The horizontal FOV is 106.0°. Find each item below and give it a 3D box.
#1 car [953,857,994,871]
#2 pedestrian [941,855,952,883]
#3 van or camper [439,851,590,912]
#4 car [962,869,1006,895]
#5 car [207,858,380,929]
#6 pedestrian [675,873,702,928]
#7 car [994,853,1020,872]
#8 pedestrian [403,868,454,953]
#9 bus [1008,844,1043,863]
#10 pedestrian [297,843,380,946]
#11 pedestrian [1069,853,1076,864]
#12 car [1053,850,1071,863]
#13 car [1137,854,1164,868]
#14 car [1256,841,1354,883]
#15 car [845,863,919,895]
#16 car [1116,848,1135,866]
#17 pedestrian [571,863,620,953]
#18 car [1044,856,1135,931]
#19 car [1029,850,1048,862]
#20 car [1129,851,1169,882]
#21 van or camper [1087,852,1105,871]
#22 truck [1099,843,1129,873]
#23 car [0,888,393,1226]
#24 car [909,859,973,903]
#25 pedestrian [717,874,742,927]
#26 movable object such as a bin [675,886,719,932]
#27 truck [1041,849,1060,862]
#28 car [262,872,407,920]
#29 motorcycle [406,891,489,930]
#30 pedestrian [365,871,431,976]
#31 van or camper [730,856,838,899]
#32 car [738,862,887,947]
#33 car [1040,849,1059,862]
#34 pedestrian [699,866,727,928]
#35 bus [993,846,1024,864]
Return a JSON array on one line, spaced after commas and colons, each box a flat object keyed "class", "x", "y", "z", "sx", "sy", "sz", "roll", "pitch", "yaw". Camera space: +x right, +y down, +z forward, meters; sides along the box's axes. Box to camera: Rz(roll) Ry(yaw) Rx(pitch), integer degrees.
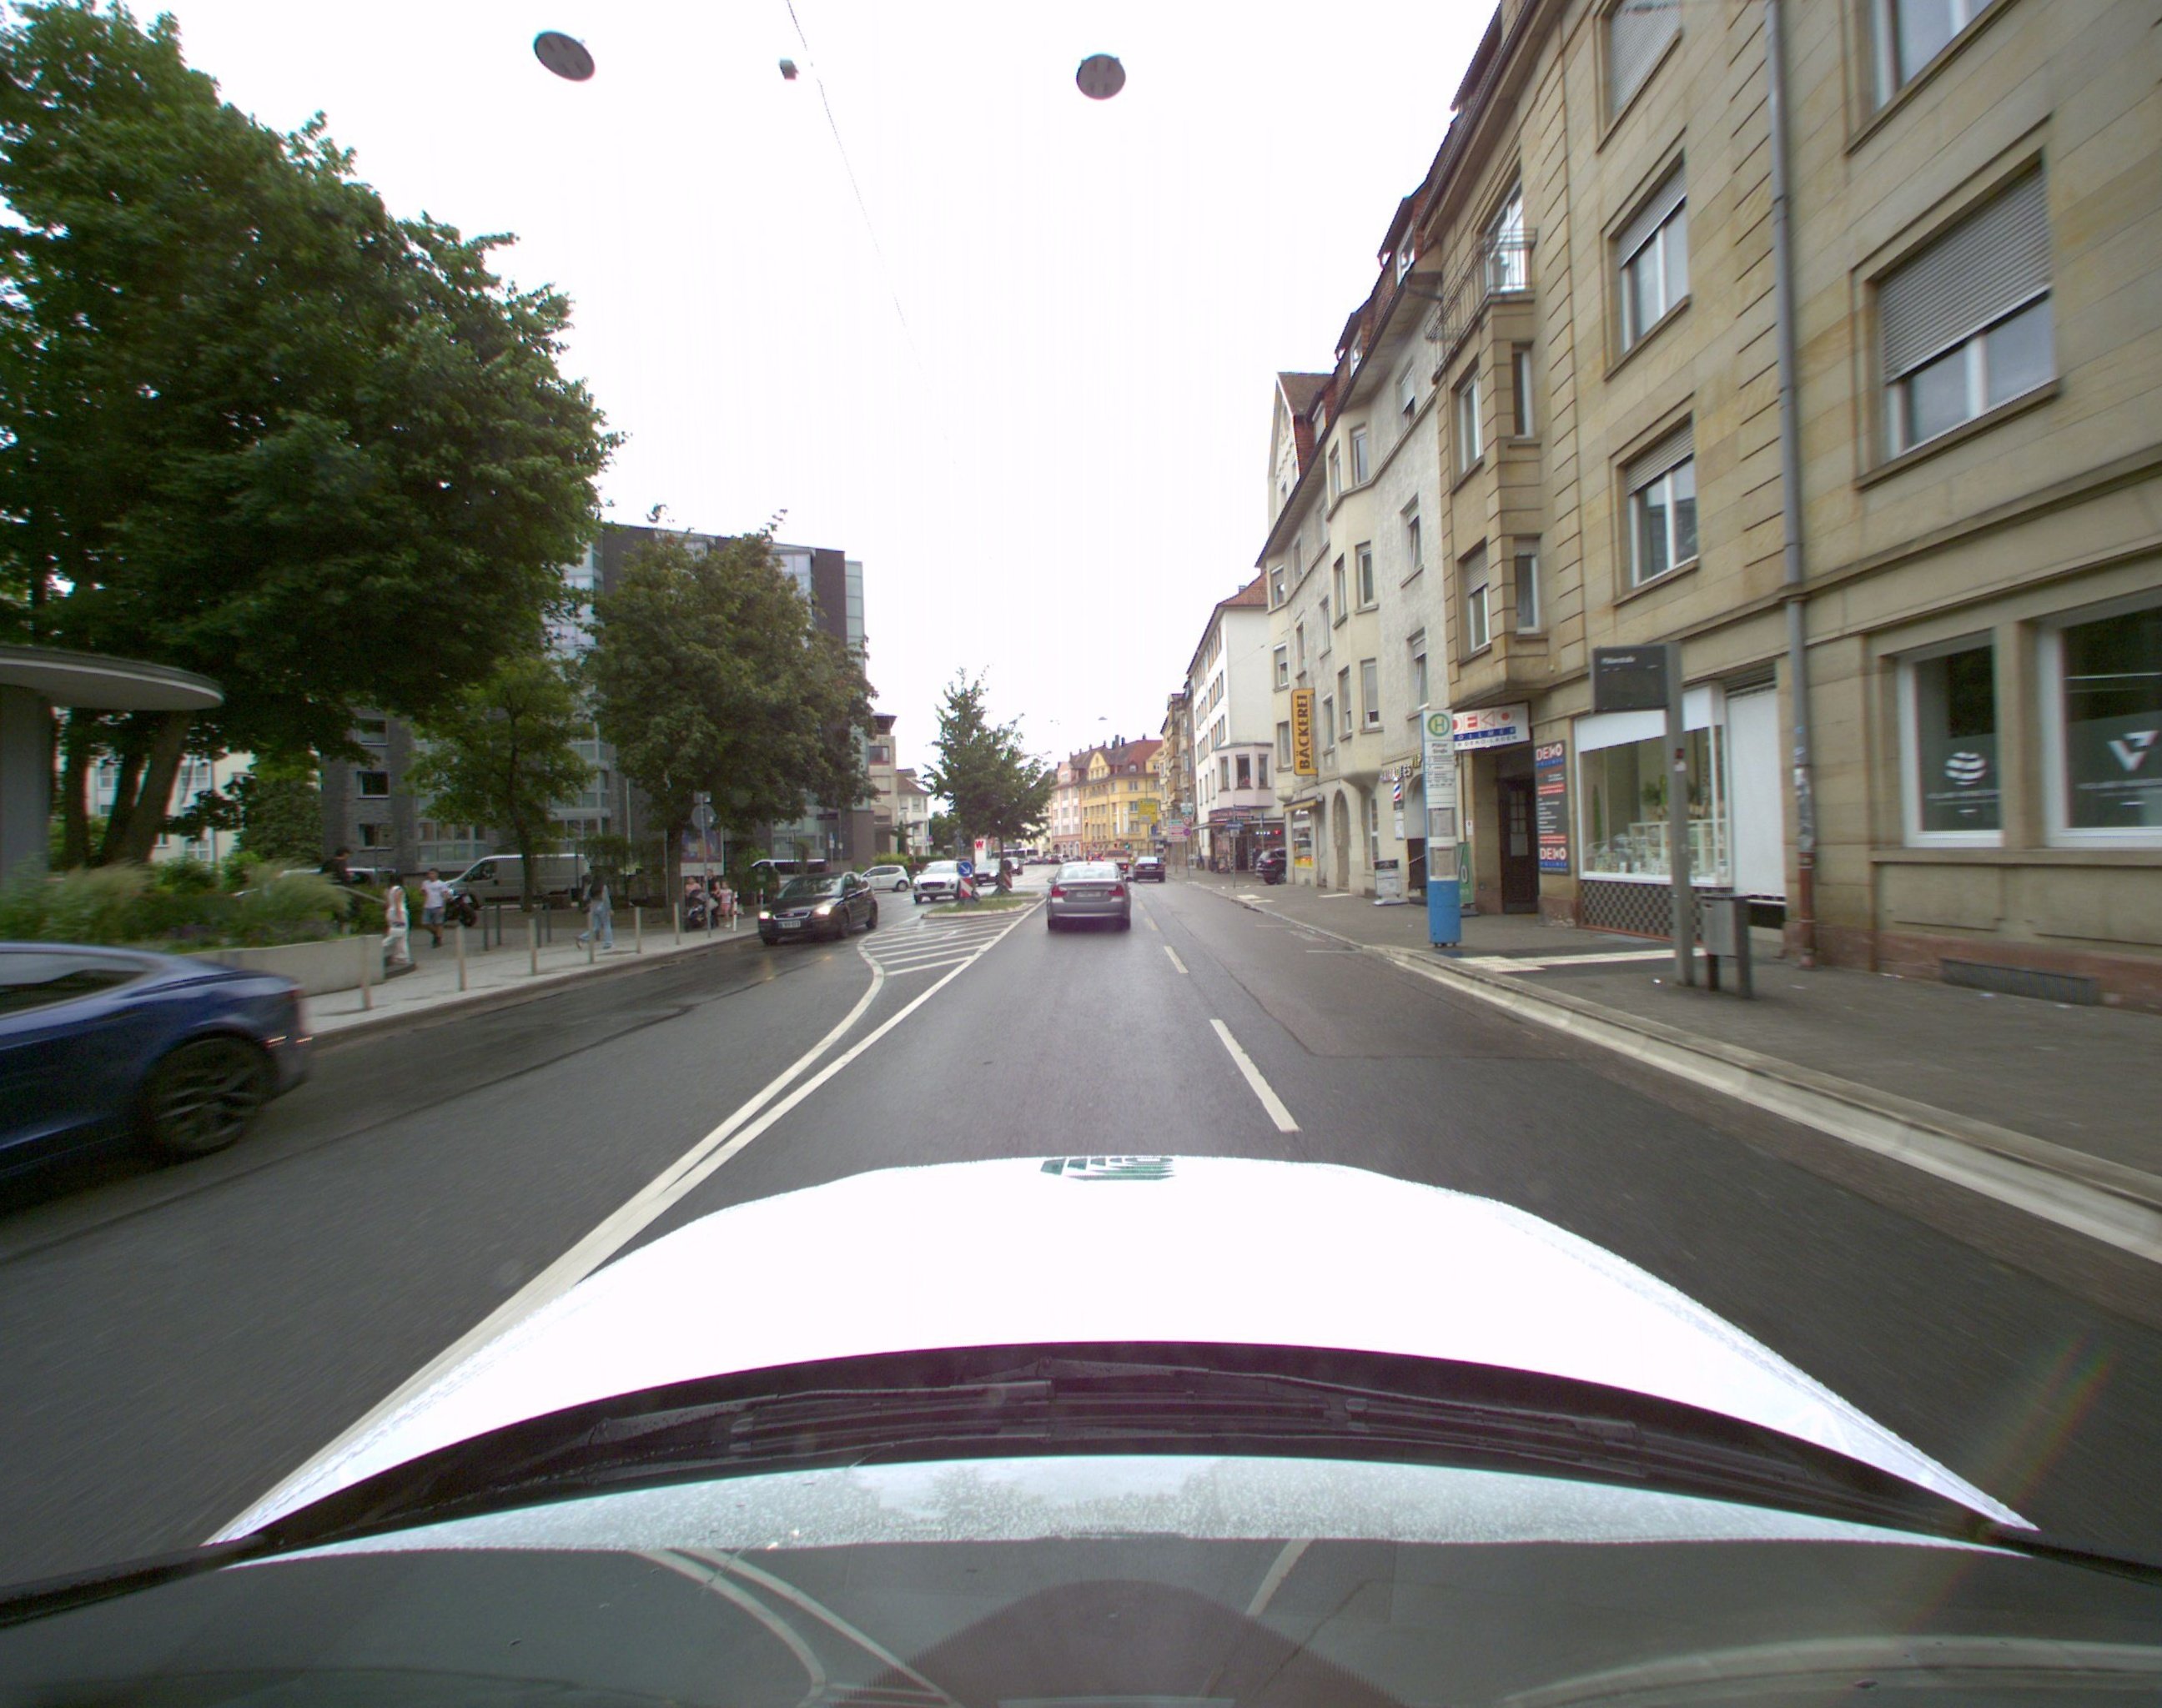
[{"class": "car", "x": -12.082, "y": 1.123, "z": 91.698, "sx": 4.436, "sy": 1.526, "sz": 1.883, "roll": 0, "pitch": 0, "yaw": -4}, {"class": "pedestrian", "x": -8.618, "y": 0.945, "z": 52.093, "sx": 0.573, "sy": 1.762, "sz": 0.580, "roll": -2, "pitch": 0, "yaw": -5}, {"class": "van or camper", "x": -22.277, "y": 1.016, "z": 32.293, "sx": 4.629, "sy": 2.266, "sz": 2.192, "roll": 0, "pitch": 0, "yaw": -28}, {"class": "car", "x": -5.835, "y": 1.651, "z": 49.683, "sx": 2.006, "sy": 1.425, "sz": 4.501, "roll": -1, "pitch": 0, "yaw": 1}, {"class": "car", "x": -28.222, "y": 1.349, "z": 29.385, "sx": 4.009, "sy": 2.255, "sz": 1.982, "roll": -2, "pitch": 0, "yaw": -27}, {"class": "pedestrian", "x": -10.767, "y": 1.277, "z": 22.349, "sx": 0.458, "sy": 1.473, "sz": 0.530, "roll": -1, "pitch": 0, "yaw": -2}, {"class": "car", "x": -6.832, "y": 0.790, "z": 74.734, "sx": 1.949, "sy": 1.659, "sz": 4.041, "roll": -1, "pitch": 0, "yaw": -11}, {"class": "pedestrian", "x": -14.808, "y": 1.259, "z": 18.501, "sx": 0.725, "sy": 1.826, "sz": 0.715, "roll": -1, "pitch": 0, "yaw": -27}, {"class": "bus", "x": -9.952, "y": -0.022, "z": 144.552, "sx": 2.923, "sy": 3.105, "sz": 9.066, "roll": -2, "pitch": 0, "yaw": -25}, {"class": "pedestrian", "x": -13.755, "y": 0.729, "z": 15.107, "sx": 0.860, "sy": 1.844, "sz": 0.691, "roll": -2, "pitch": 0, "yaw": -13}, {"class": "pedestrian", "x": -1.120, "y": 0.575, "z": 108.116, "sx": 0.763, "sy": 1.529, "sz": 0.505, "roll": 0, "pitch": -1, "yaw": -19}, {"class": "car", "x": -3.378, "y": 0.455, "z": 144.929, "sx": 1.770, "sy": 2.180, "sz": 3.968, "roll": 1, "pitch": -1, "yaw": -24}, {"class": "car", "x": 10.770, "y": 1.071, "z": 126.421, "sx": 3.962, "sy": 2.014, "sz": 2.005, "roll": 1, "pitch": -1, "yaw": 10}, {"class": "car", "x": 10.190, "y": 0.366, "z": 37.245, "sx": 4.114, "sy": 1.772, "sz": 1.878, "roll": -1, "pitch": 0, "yaw": 9}, {"class": "car", "x": -10.931, "y": 1.340, "z": 44.744, "sx": 3.601, "sy": 1.569, "sz": 1.723, "roll": -1, "pitch": 0, "yaw": -32}, {"class": "car", "x": 5.289, "y": 0.328, "z": 96.552, "sx": 1.987, "sy": 2.013, "sz": 4.000, "roll": -2, "pitch": 0, "yaw": 1}, {"class": "pedestrian", "x": -10.248, "y": 1.108, "z": 17.222, "sx": 0.724, "sy": 1.826, "sz": 0.848, "roll": -1, "pitch": 0, "yaw": -21}, {"class": "car", "x": 0.189, "y": 0.791, "z": 18.211, "sx": 1.793, "sy": 1.464, "sz": 4.370, "roll": 0, "pitch": 0, "yaw": 0}, {"class": "car", "x": -7.124, "y": 0.339, "z": 136.576, "sx": 2.000, "sy": 2.013, "sz": 3.973, "roll": -2, "pitch": 0, "yaw": -20}, {"class": "car", "x": 3.701, "y": 0.685, "z": 44.939, "sx": 1.794, "sy": 1.563, "sz": 3.998, "roll": -1, "pitch": -1, "yaw": -1}, {"class": "van or camper", "x": 1.753, "y": 0.840, "z": 95.763, "sx": 1.849, "sy": 2.146, "sz": 4.140, "roll": -1, "pitch": 0, "yaw": -1}, {"class": "truck", "x": 2.573, "y": 0.273, "z": 64.581, "sx": 2.216, "sy": 2.249, "sz": 5.064, "roll": -1, "pitch": 0, "yaw": 1}, {"class": "car", "x": -6.152, "y": 1.088, "z": 3.591, "sx": 1.949, "sy": 1.511, "sz": 4.911, "roll": -4, "pitch": 0, "yaw": 0}, {"class": "car", "x": -5.632, "y": 1.043, "z": 33.269, "sx": 1.814, "sy": 1.569, "sz": 4.089, "roll": -3, "pitch": 0, "yaw": 0}, {"class": "pedestrian", "x": -9.589, "y": 1.253, "z": 22.234, "sx": 0.432, "sy": 1.410, "sz": 0.481, "roll": -1, "pitch": 0, "yaw": -2}, {"class": "movable object such as a bin", "x": -10.118, "y": 1.437, "z": 21.491, "sx": 0.701, "sy": 1.134, "sz": 0.965, "roll": -1, "pitch": 0, "yaw": -2}, {"class": "truck", "x": -5.628, "y": 0.334, "z": 149.827, "sx": 2.035, "sy": 2.389, "sz": 4.203, "roll": 0, "pitch": 0, "yaw": -24}, {"class": "car", "x": -31.154, "y": 1.724, "z": 34.166, "sx": 4.006, "sy": 1.728, "sz": 1.984, "roll": -2, "pitch": 0, "yaw": -25}, {"class": "motorcycle", "x": -17.971, "y": 1.578, "z": 23.095, "sx": 2.037, "sy": 0.987, "sz": 0.800, "roll": 1, "pitch": 0, "yaw": 16}, {"class": "pedestrian", "x": -12.014, "y": 1.202, "z": 14.346, "sx": 0.657, "sy": 1.759, "sz": 0.716, "roll": -2, "pitch": 0, "yaw": -22}, {"class": "van or camper", "x": -15.363, "y": 1.165, "z": 42.170, "sx": 4.980, "sy": 2.013, "sz": 1.982, "roll": -1, "pitch": 0, "yaw": -28}, {"class": "car", "x": -5.952, "y": 1.044, "z": 18.646, "sx": 1.949, "sy": 1.557, "sz": 4.242, "roll": -3, "pitch": 0, "yaw": 0}, {"class": "car", "x": -5.062, "y": 0.251, "z": 130.806, "sx": 2.000, "sy": 2.013, "sz": 3.973, "roll": -2, "pitch": 0, "yaw": -20}, {"class": "pedestrian", "x": -10.070, "y": 1.169, "z": 22.282, "sx": 0.496, "sy": 1.673, "sz": 0.552, "roll": -1, "pitch": 0, "yaw": -2}, {"class": "bus", "x": -13.708, "y": 0.197, "z": 152.693, "sx": 2.923, "sy": 3.105, "sz": 8.799, "roll": -2, "pitch": 0, "yaw": -24}]
